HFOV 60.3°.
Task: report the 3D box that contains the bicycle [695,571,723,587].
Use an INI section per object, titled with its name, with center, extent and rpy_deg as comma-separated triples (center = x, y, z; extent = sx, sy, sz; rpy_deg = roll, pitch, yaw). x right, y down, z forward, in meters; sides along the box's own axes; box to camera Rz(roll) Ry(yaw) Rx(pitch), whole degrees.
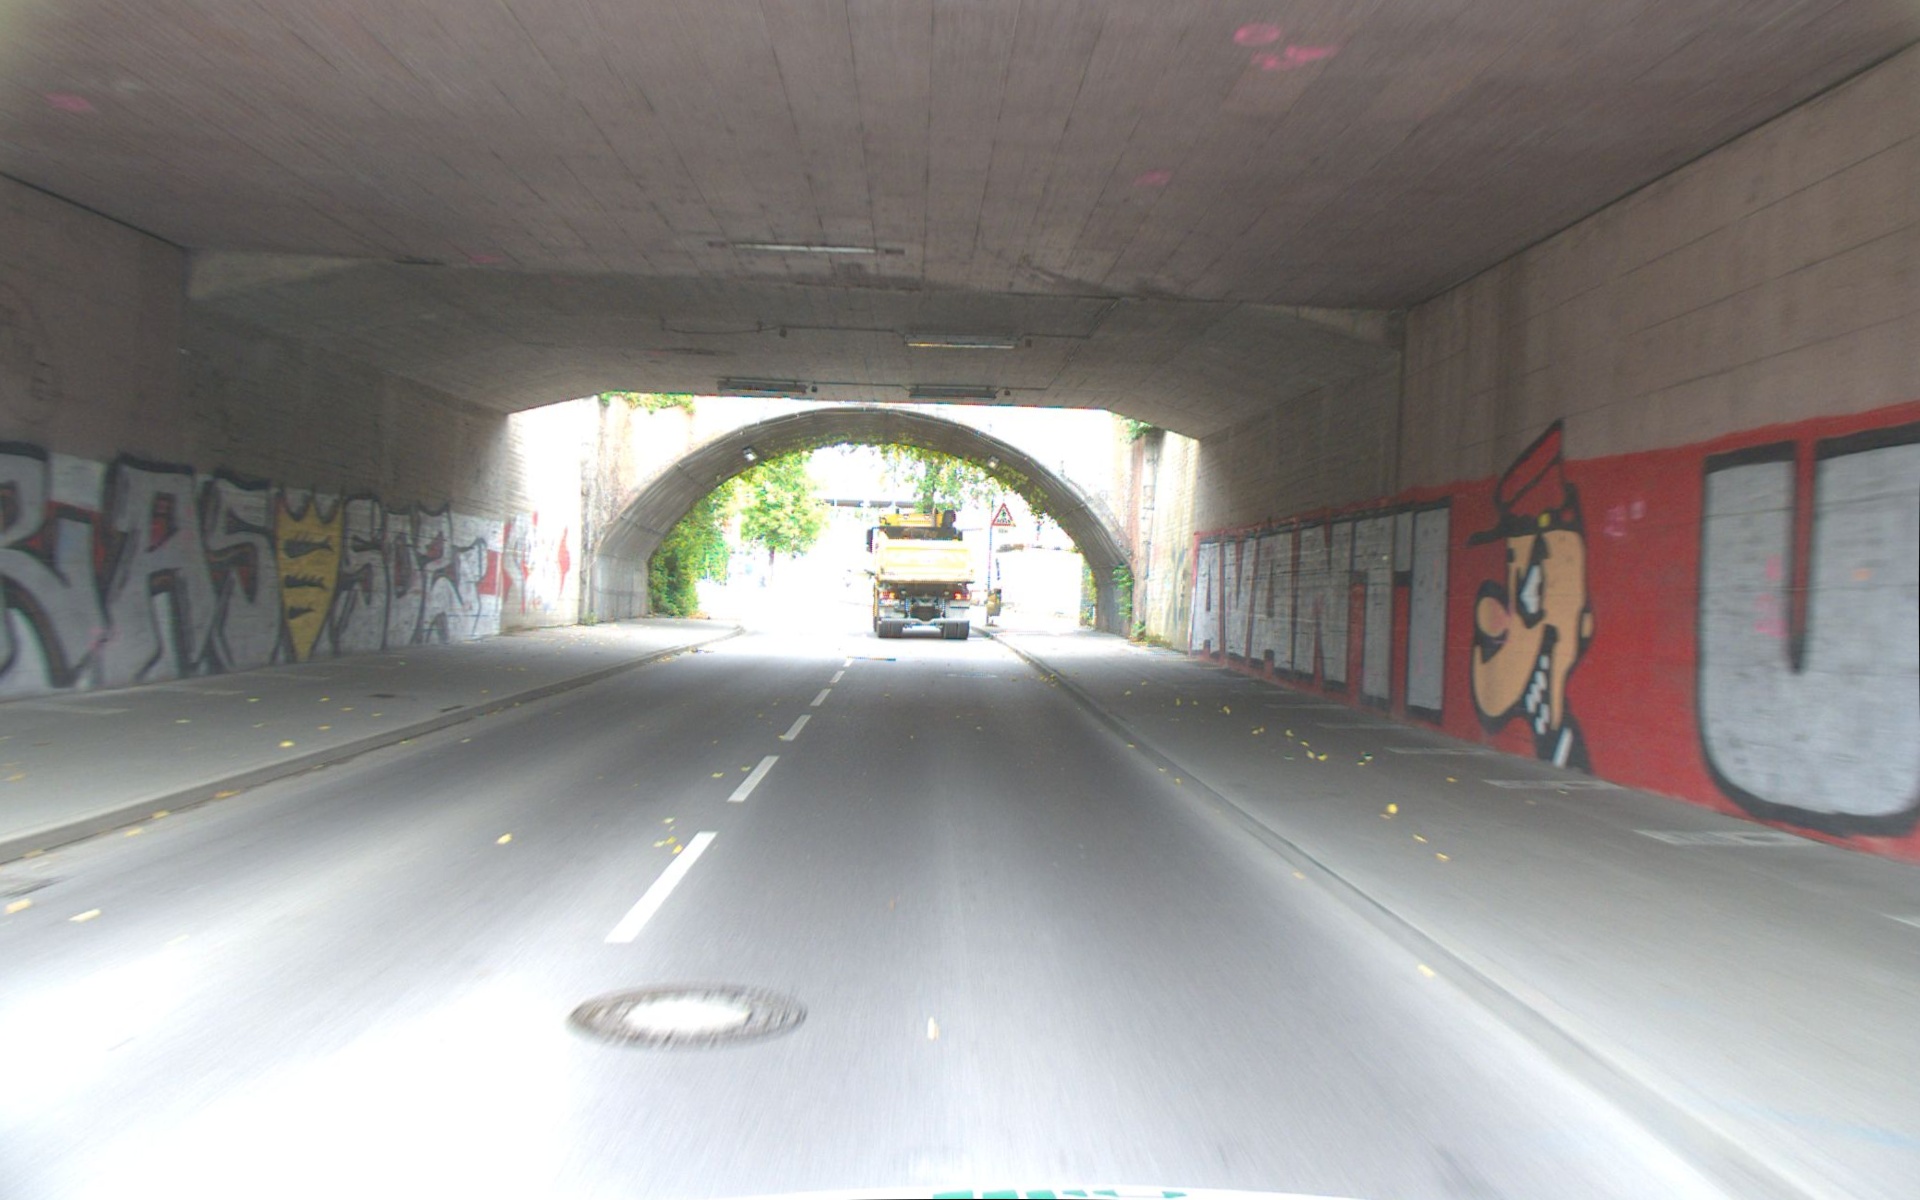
[bicycle]
center = -17.704, -1.489, 116.734
extent = 1.955, 0.880, 0.503
rpy_deg = 8, -2, -41

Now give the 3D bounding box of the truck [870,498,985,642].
[truck]
center = -1.052, -0.908, 46.518
extent = 2.710, 3.543, 8.124
rpy_deg = 3, 2, -4
